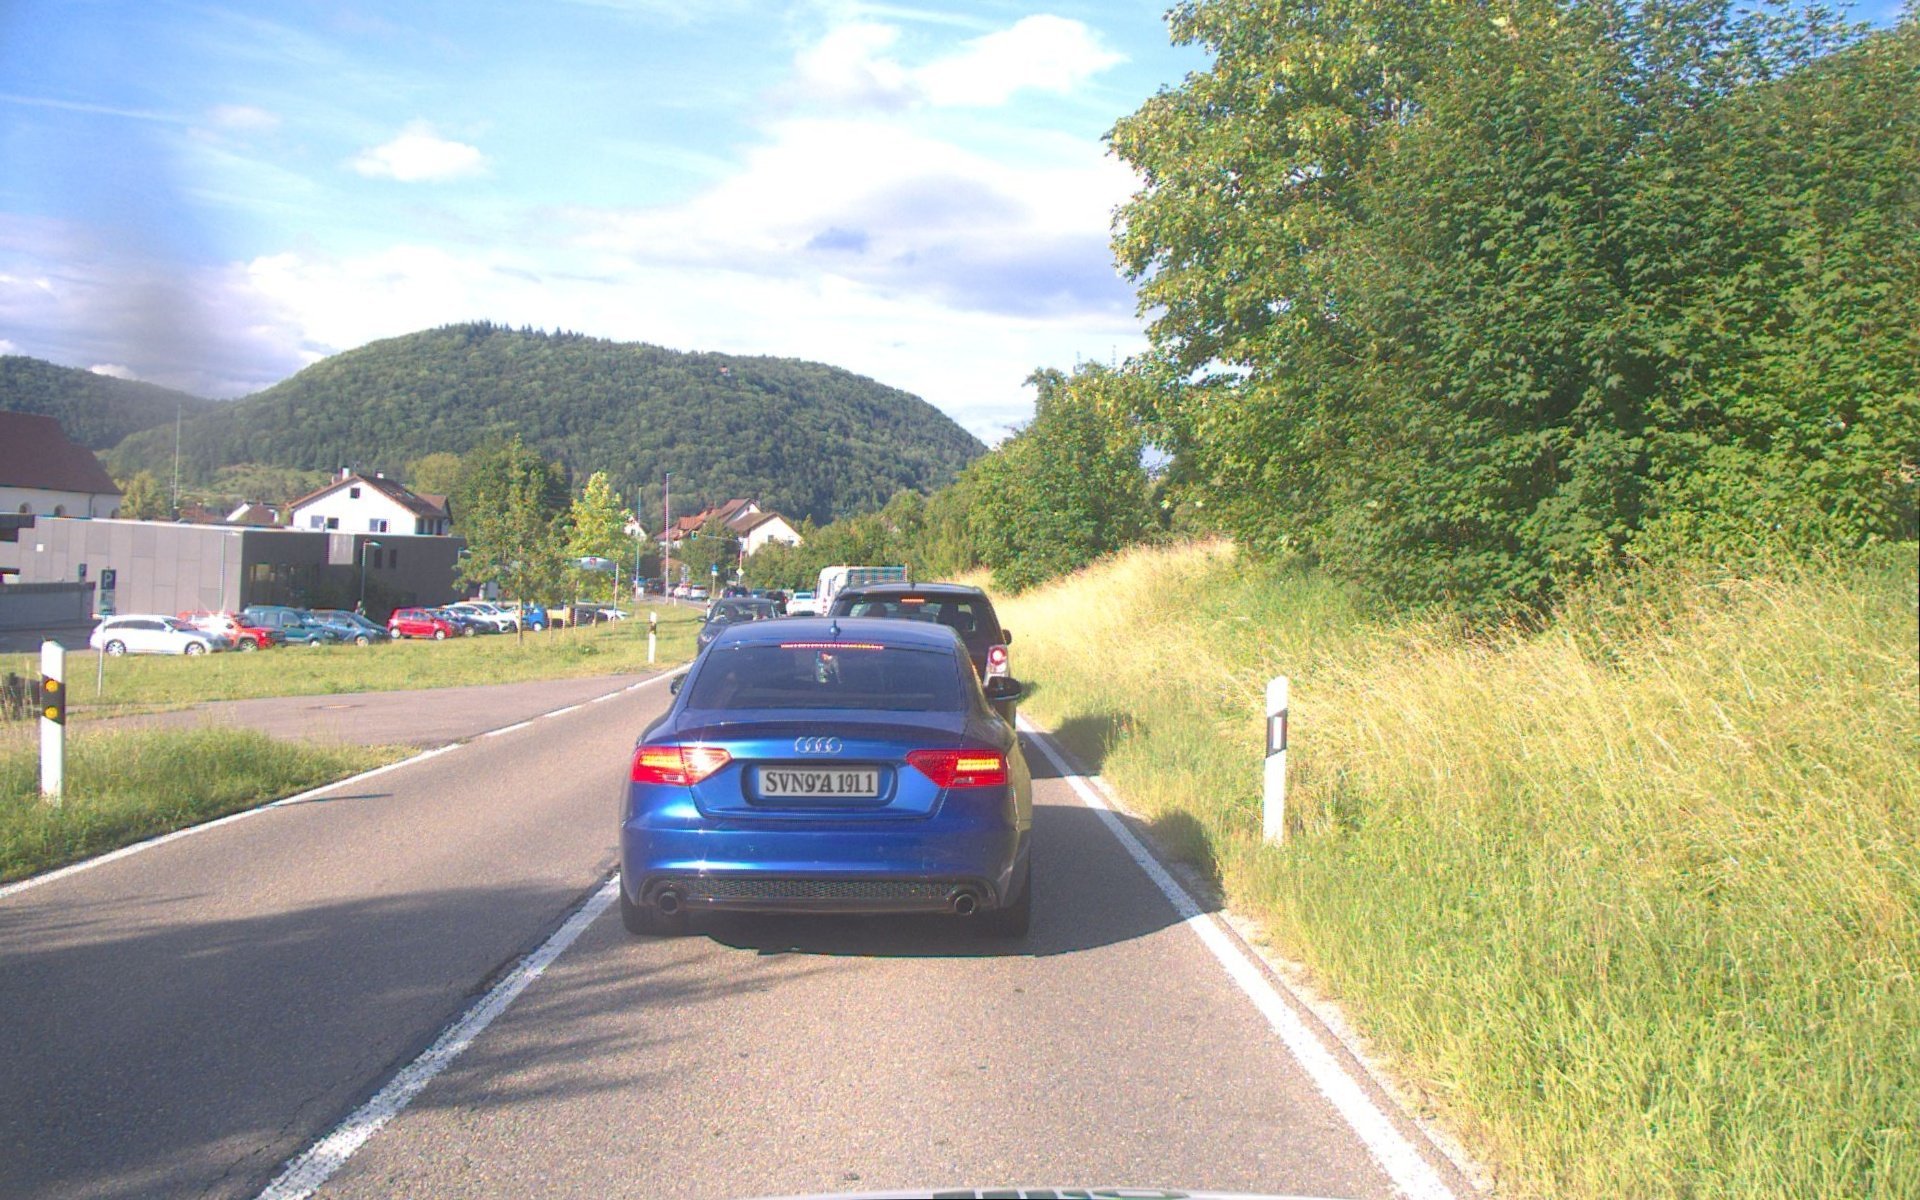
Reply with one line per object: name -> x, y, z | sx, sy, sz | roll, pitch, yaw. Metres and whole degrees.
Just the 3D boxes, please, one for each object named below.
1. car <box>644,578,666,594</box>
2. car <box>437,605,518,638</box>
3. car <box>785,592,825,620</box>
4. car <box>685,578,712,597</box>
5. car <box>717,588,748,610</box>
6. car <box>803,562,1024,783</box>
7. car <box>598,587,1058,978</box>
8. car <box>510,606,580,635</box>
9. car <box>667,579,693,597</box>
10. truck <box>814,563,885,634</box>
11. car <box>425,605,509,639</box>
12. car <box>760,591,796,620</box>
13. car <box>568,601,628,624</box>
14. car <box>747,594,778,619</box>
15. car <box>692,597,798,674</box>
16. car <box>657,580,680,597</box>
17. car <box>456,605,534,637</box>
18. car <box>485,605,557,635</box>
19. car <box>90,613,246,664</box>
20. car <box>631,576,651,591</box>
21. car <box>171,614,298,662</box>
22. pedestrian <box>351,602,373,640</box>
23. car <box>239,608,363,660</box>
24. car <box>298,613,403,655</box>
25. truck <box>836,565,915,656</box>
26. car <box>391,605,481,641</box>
car -> -34.387, -1.532, 186.406 | 1.817, 1.742, 3.979 | 1, 0, -19
car -> -26.766, 1.179, 91.830 | 3.907, 1.741, 1.999 | 1, 0, -3
car -> -8.729, 0.327, 93.049 | 1.813, 1.508, 3.988 | 1, 0, -12
car -> -24.765, -1.142, 156.603 | 1.817, 1.742, 3.979 | 1, 0, -19
car -> -18.672, -0.113, 135.466 | 1.817, 1.742, 3.979 | 1, 0, -19
car -> -0.360, 0.584, 14.945 | 1.718, 1.710, 3.846 | 1, 0, 0
car -> -0.496, 0.702, 8.194 | 1.718, 1.455, 3.846 | 1, 0, 0
car -> -25.971, 1.257, 103.587 | 3.907, 1.741, 1.999 | 1, 0, -3
car -> -28.081, -1.208, 165.624 | 1.819, 1.742, 3.975 | 1, 0, -21
truck -> -4.384, -0.050, 64.648 | 2.188, 2.615, 6.694 | 1, 0, -9
car -> -26.243, 1.168, 88.181 | 3.907, 1.741, 1.999 | 1, 0, -3
car -> -11.636, 0.346, 105.548 | 1.814, 1.742, 3.985 | 1, 0, -14
car -> -25.823, 0.887, 118.156 | 3.907, 1.606, 1.751 | 1, 0, -3
car -> -14.647, 0.471, 122.619 | 1.814, 1.742, 3.986 | 1, 0, -13
car -> -4.325, 0.686, 33.732 | 1.669, 1.455, 4.049 | 1, 0, -1
car -> -30.859, -1.187, 175.245 | 1.817, 1.742, 3.979 | 1, 0, -19
car -> -26.716, 1.198, 95.115 | 3.907, 1.741, 1.999 | 1, 0, -3
car -> -26.745, 1.229, 100.901 | 3.907, 1.741, 1.999 | 1, 0, -3
car -> -28.654, 1.398, 59.978 | 4.637, 1.741, 1.999 | 1, 0, -3
car -> -37.708, -1.941, 195.473 | 1.817, 1.742, 3.979 | 1, 0, -19
car -> -27.591, 1.433, 63.002 | 3.907, 1.741, 1.999 | 1, 0, -3
pedestrian -> -32.561, 1.131, 90.066 | 0.808, 2.049, 0.973 | 1, -1, -1
car -> -27.369, 1.399, 68.817 | 4.318, 2.043, 1.999 | 1, 0, -3
car -> -26.976, 1.500, 73.325 | 3.907, 1.741, 1.999 | 1, 0, -3
truck -> -2.547, 0.314, 51.164 | 2.184, 2.615, 6.102 | 1, 0, -1
car -> -26.467, 1.139, 83.629 | 3.907, 1.741, 1.999 | 1, 0, -3
